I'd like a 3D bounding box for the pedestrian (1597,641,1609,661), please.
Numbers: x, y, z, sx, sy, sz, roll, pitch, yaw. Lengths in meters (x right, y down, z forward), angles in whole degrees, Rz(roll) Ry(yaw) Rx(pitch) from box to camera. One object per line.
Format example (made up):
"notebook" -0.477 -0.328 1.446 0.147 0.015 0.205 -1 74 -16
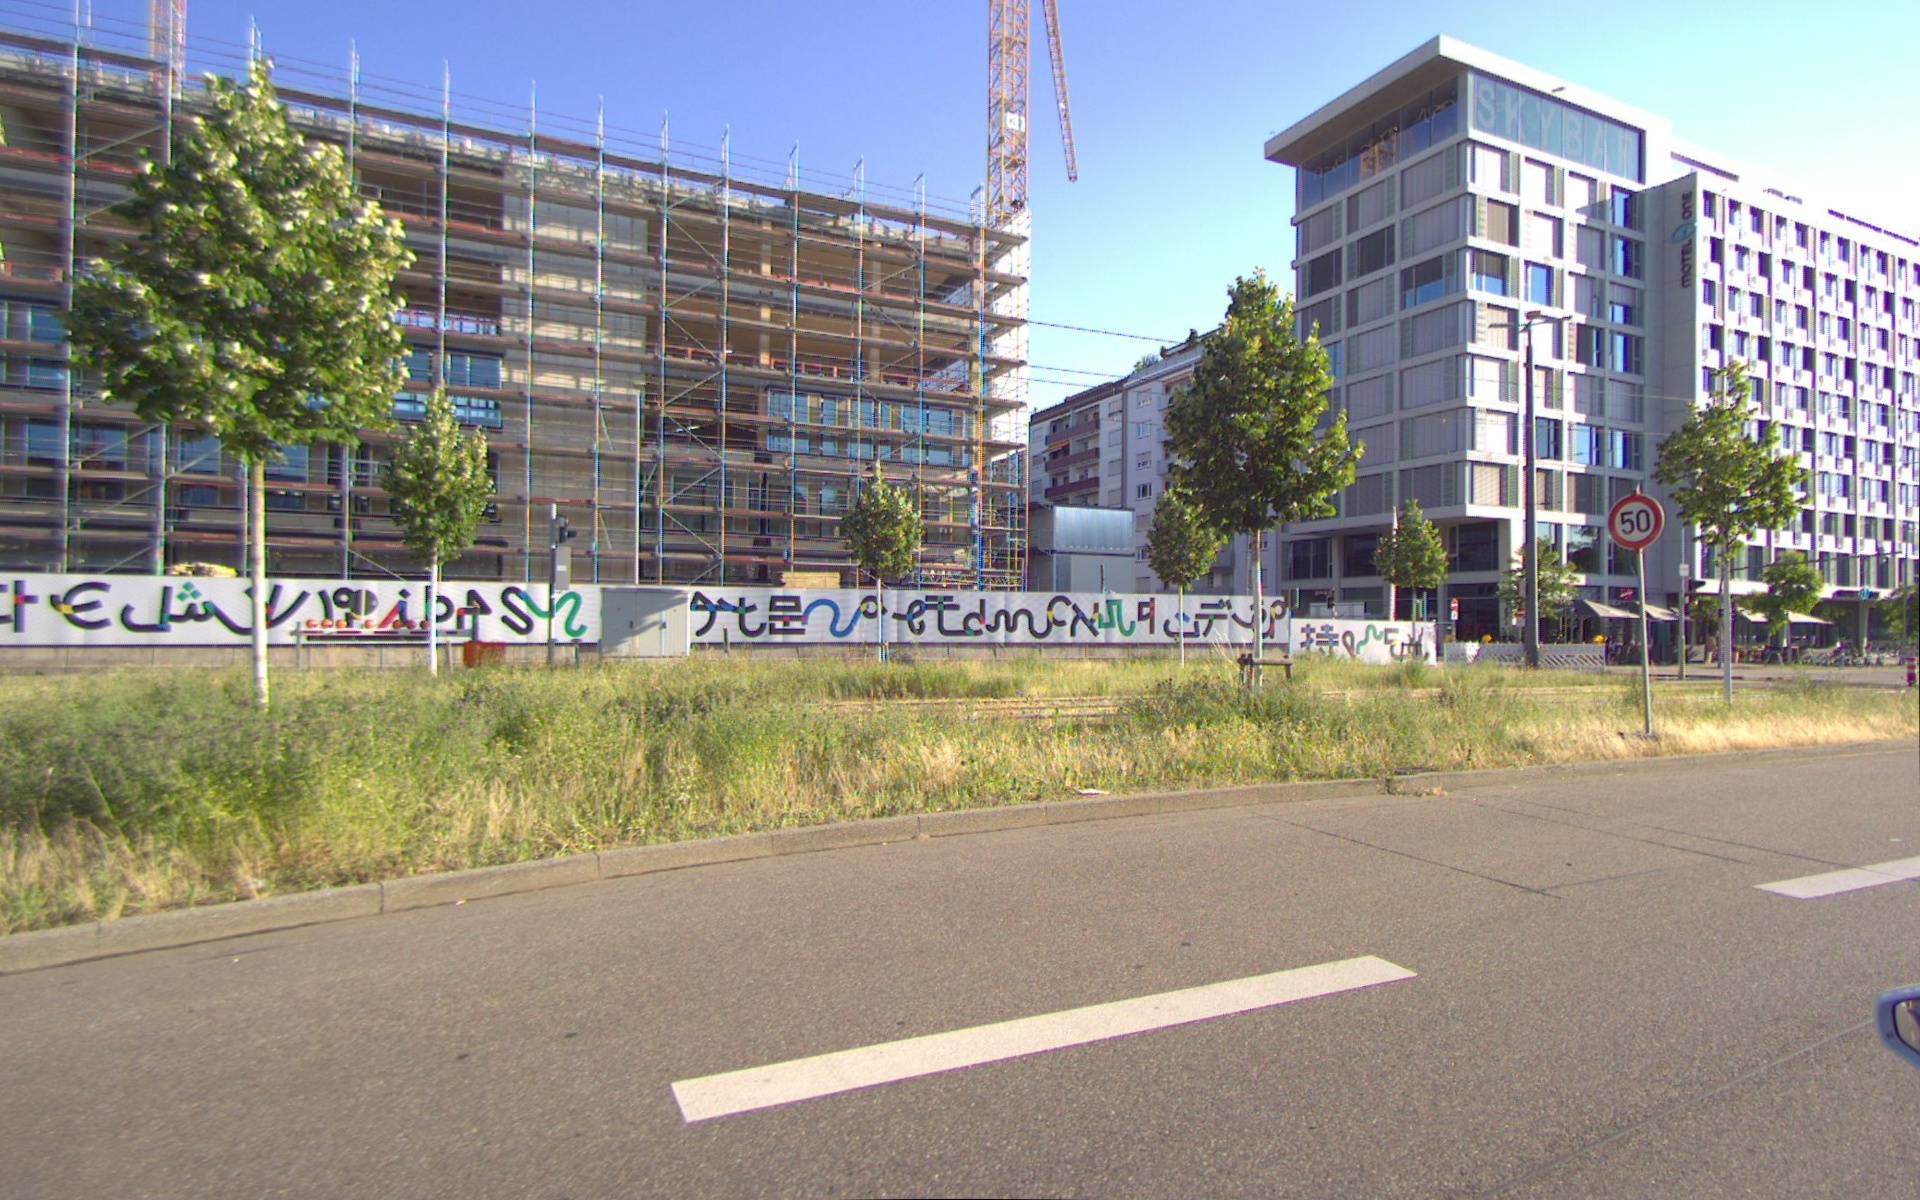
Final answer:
"pedestrian" 40.364 3.180 63.051 0.491 1.238 0.430 1 -1 -25

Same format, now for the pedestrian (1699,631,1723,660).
"pedestrian" 45.298 2.756 60.611 0.790 1.744 0.869 1 -1 -16

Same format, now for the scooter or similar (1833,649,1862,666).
"scooter or similar" 53.668 3.469 60.770 0.429 1.032 1.240 1 -2 -24

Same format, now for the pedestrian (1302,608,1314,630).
"pedestrian" 24.719 1.348 71.416 0.569 1.518 0.585 1 -1 -23

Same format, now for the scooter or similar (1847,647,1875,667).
"scooter or similar" 55.385 3.504 61.767 0.400 1.187 1.240 1 -2 -24

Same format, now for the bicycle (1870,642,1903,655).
"bicycle" 71.897 3.760 77.939 0.506 0.917 1.795 1 -2 -31

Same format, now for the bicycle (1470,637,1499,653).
"bicycle" 31.394 2.680 60.098 1.876 0.948 0.534 1 -1 -27

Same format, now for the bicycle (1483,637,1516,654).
"bicycle" 31.853 2.687 59.301 2.187 0.948 0.616 1 -1 -27

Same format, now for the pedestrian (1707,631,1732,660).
"pedestrian" 46.034 2.774 60.885 0.790 1.744 0.869 1 -1 -16

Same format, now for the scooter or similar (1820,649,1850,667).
"scooter or similar" 52.326 3.437 60.086 0.504 1.032 1.240 1 -2 -24

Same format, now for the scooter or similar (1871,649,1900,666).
"scooter or similar" 57.729 3.566 62.667 0.429 1.032 1.240 1 -2 -24
